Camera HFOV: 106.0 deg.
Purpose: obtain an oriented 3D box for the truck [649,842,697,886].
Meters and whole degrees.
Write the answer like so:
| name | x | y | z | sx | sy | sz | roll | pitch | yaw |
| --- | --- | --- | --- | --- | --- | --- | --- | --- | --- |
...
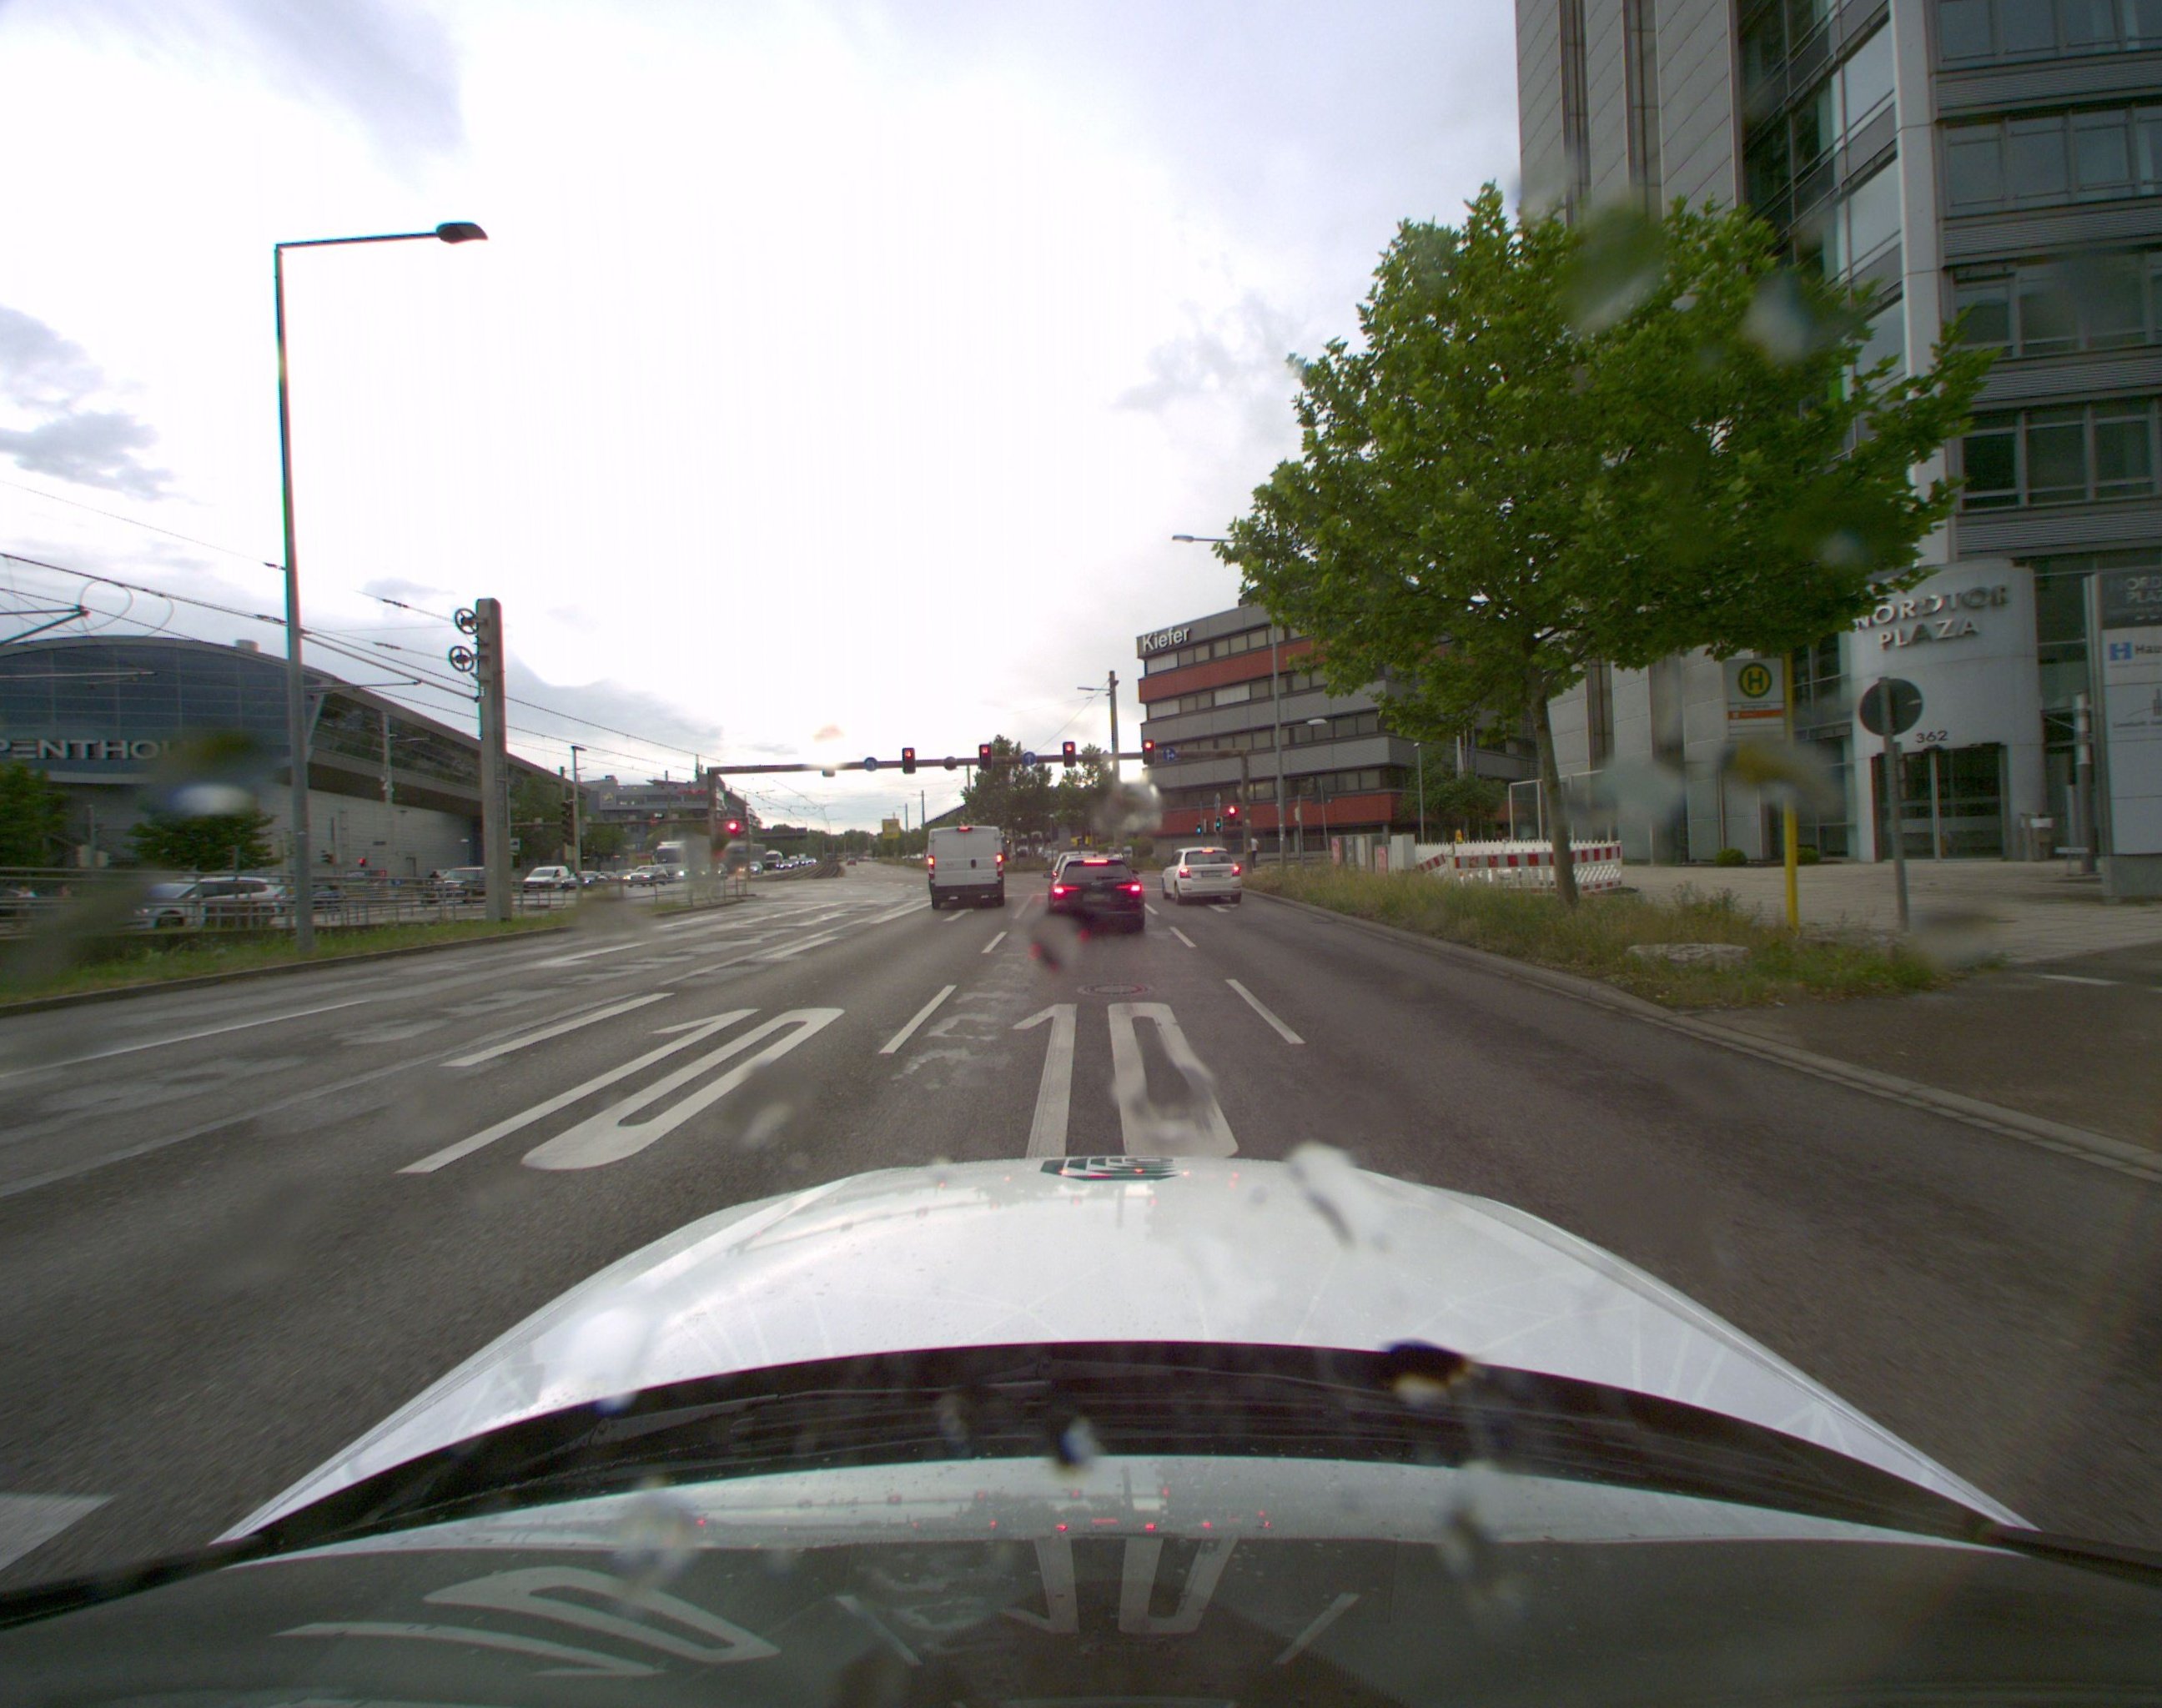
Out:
| name | x | y | z | sx | sy | sz | roll | pitch | yaw |
| --- | --- | --- | --- | --- | --- | --- | --- | --- | --- |
| truck | -39.365 | 0.916 | 78.809 | 2.837 | 3.996 | 5.956 | -2 | 0 | -15 |

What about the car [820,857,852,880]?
| name | x | y | z | sx | sy | sz | roll | pitch | yaw |
| --- | --- | --- | --- | --- | --- | --- | --- | --- | --- |
| car | -22.101 | 1.301 | 73.501 | 1.769 | 2.013 | 4.343 | 0 | 0 | -3 |

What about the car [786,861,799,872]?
| name | x | y | z | sx | sy | sz | roll | pitch | yaw |
| --- | --- | --- | --- | --- | --- | --- | --- | --- | --- |
| car | -52.873 | 2.266 | 149.277 | 1.998 | 1.837 | 4.881 | 1 | 1 | -17 |

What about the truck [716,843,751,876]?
| name | x | y | z | sx | sy | sz | roll | pitch | yaw |
| --- | --- | --- | --- | --- | --- | --- | --- | --- | --- |
| truck | -46.123 | 0.785 | 108.246 | 2.666 | 4.130 | 6.164 | -2 | -1 | -10 |

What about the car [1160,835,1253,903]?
| name | x | y | z | sx | sy | sz | roll | pitch | yaw |
| --- | --- | --- | --- | --- | --- | --- | --- | --- | --- |
| car | 3.309 | 0.401 | 22.208 | 1.824 | 1.656 | 3.998 | -1 | -1 | -1 |

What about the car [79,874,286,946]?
| name | x | y | z | sx | sy | sz | roll | pitch | yaw |
| --- | --- | --- | --- | --- | --- | --- | --- | --- | --- |
| car | -28.070 | 1.674 | 25.698 | 1.769 | 2.014 | 4.342 | 0 | -1 | -3 |

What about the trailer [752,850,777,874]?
| name | x | y | z | sx | sy | sz | roll | pitch | yaw |
| --- | --- | --- | --- | --- | --- | --- | --- | --- | --- |
| trailer | -56.704 | 1.552 | 145.710 | 2.740 | 3.854 | 11.126 | -3 | 0 | -28 |

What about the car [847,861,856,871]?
| name | x | y | z | sx | sy | sz | roll | pitch | yaw |
| --- | --- | --- | --- | --- | --- | --- | --- | --- | --- |
| car | -47.347 | 2.543 | 167.991 | 1.776 | 2.014 | 4.325 | 0 | -1 | -15 |

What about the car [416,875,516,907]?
| name | x | y | z | sx | sy | sz | roll | pitch | yaw |
| --- | --- | --- | --- | --- | --- | --- | --- | --- | --- |
| car | -31.427 | 1.856 | 41.827 | 1.674 | 1.498 | 4.924 | 0 | -1 | -4 |

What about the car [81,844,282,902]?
| name | x | y | z | sx | sy | sz | roll | pitch | yaw |
| --- | --- | --- | --- | --- | --- | --- | --- | --- | --- |
| car | -27.963 | 0.587 | 25.551 | 1.523 | 1.666 | 4.268 | 0 | -1 | 0 |

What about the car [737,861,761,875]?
| name | x | y | z | sx | sy | sz | roll | pitch | yaw |
| --- | --- | --- | --- | --- | --- | --- | --- | --- | --- |
| car | -40.922 | 1.741 | 100.410 | 1.888 | 1.652 | 4.080 | 0 | -1 | -11 |

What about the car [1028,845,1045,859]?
| name | x | y | z | sx | sy | sz | roll | pitch | yaw |
| --- | --- | --- | --- | --- | --- | --- | --- | --- | --- |
| car | -6.541 | -0.269 | 119.061 | 1.682 | 2.014 | 3.523 | 0 | -1 | -16 |

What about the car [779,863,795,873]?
| name | x | y | z | sx | sy | sz | roll | pitch | yaw |
| --- | --- | --- | --- | --- | --- | --- | --- | --- | --- |
| car | -47.799 | 2.315 | 132.402 | 1.904 | 1.555 | 4.547 | 0 | -1 | -12 |

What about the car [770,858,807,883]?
| name | x | y | z | sx | sy | sz | roll | pitch | yaw |
| --- | --- | --- | --- | --- | --- | --- | --- | --- | --- |
| car | -24.380 | 1.334 | 68.016 | 1.769 | 2.013 | 4.343 | 0 | 0 | -3 |

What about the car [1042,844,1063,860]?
| name | x | y | z | sx | sy | sz | roll | pitch | yaw |
| --- | --- | --- | --- | --- | --- | --- | --- | --- | --- |
| car | -3.853 | -0.195 | 110.317 | 1.997 | 2.032 | 3.980 | -3 | 0 | -14 |

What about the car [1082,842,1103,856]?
| name | x | y | z | sx | sy | sz | roll | pitch | yaw |
| --- | --- | --- | --- | --- | --- | --- | --- | --- | --- |
| car | 1.699 | -0.693 | 122.571 | 1.877 | 2.014 | 3.748 | 0 | -1 | -21 |

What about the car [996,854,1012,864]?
| name | x | y | z | sx | sy | sz | roll | pitch | yaw |
| --- | --- | --- | --- | --- | --- | --- | --- | --- | --- |
| car | -13.387 | 0.911 | 141.623 | 1.796 | 1.591 | 3.976 | -3 | 0 | -18 |

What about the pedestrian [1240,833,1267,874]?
| name | x | y | z | sx | sy | sz | roll | pitch | yaw |
| --- | --- | --- | --- | --- | --- | --- | --- | --- | --- |
| pedestrian | 9.423 | -0.027 | 44.461 | 1.140 | 2.125 | 1.222 | -3 | 1 | 0 |

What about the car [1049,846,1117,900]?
| name | x | y | z | sx | sy | sz | roll | pitch | yaw |
| --- | --- | --- | --- | --- | --- | --- | --- | --- | --- |
| car | 0.121 | 0.553 | 24.988 | 1.887 | 1.465 | 3.911 | -2 | -1 | 2 |

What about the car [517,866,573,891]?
| name | x | y | z | sx | sy | sz | roll | pitch | yaw |
| --- | --- | --- | --- | --- | --- | --- | --- | --- | --- |
| car | -37.724 | 1.693 | 57.409 | 1.570 | 1.627 | 4.073 | 0 | -1 | -7 |

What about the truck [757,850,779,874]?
| name | x | y | z | sx | sy | sz | roll | pitch | yaw |
| --- | --- | --- | --- | --- | --- | --- | --- | --- | --- |
| truck | -54.141 | 1.421 | 140.793 | 2.761 | 3.805 | 5.362 | -3 | 0 | -27 |

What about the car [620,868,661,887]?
| name | x | y | z | sx | sy | sz | roll | pitch | yaw |
| --- | --- | --- | --- | --- | --- | --- | --- | --- | --- |
| car | -34.695 | 1.832 | 64.273 | 1.740 | 1.462 | 4.135 | 0 | -1 | -12 |

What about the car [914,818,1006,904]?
| name | x | y | z | sx | sy | sz | roll | pitch | yaw |
| --- | --- | --- | --- | --- | --- | --- | --- | --- | --- |
| car | -3.486 | 0.222 | 24.213 | 2.442 | 2.294 | 4.893 | 0 | -1 | -6 |

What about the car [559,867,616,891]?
| name | x | y | z | sx | sy | sz | roll | pitch | yaw |
| --- | --- | --- | --- | --- | --- | --- | --- | --- | --- |
| car | -33.128 | 1.640 | 54.801 | 1.786 | 1.503 | 3.989 | 0 | -1 | -8 |

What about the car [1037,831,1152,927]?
| name | x | y | z | sx | sy | sz | roll | pitch | yaw |
| --- | --- | --- | --- | --- | --- | --- | --- | --- | --- |
| car | 0.256 | 0.460 | 16.229 | 1.987 | 1.637 | 4.000 | -1 | -1 | 0 |

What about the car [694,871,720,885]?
| name | x | y | z | sx | sy | sz | roll | pitch | yaw |
| --- | --- | --- | --- | --- | --- | --- | --- | --- | --- |
| car | -36.325 | 2.332 | 79.191 | 1.915 | 1.264 | 4.383 | 0 | -1 | -20 |

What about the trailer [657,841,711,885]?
| name | x | y | z | sx | sy | sz | roll | pitch | yaw |
| --- | --- | --- | --- | --- | --- | --- | --- | --- | --- |
| trailer | -40.824 | 0.885 | 84.180 | 2.800 | 4.107 | 11.383 | -3 | 0 | -15 |
